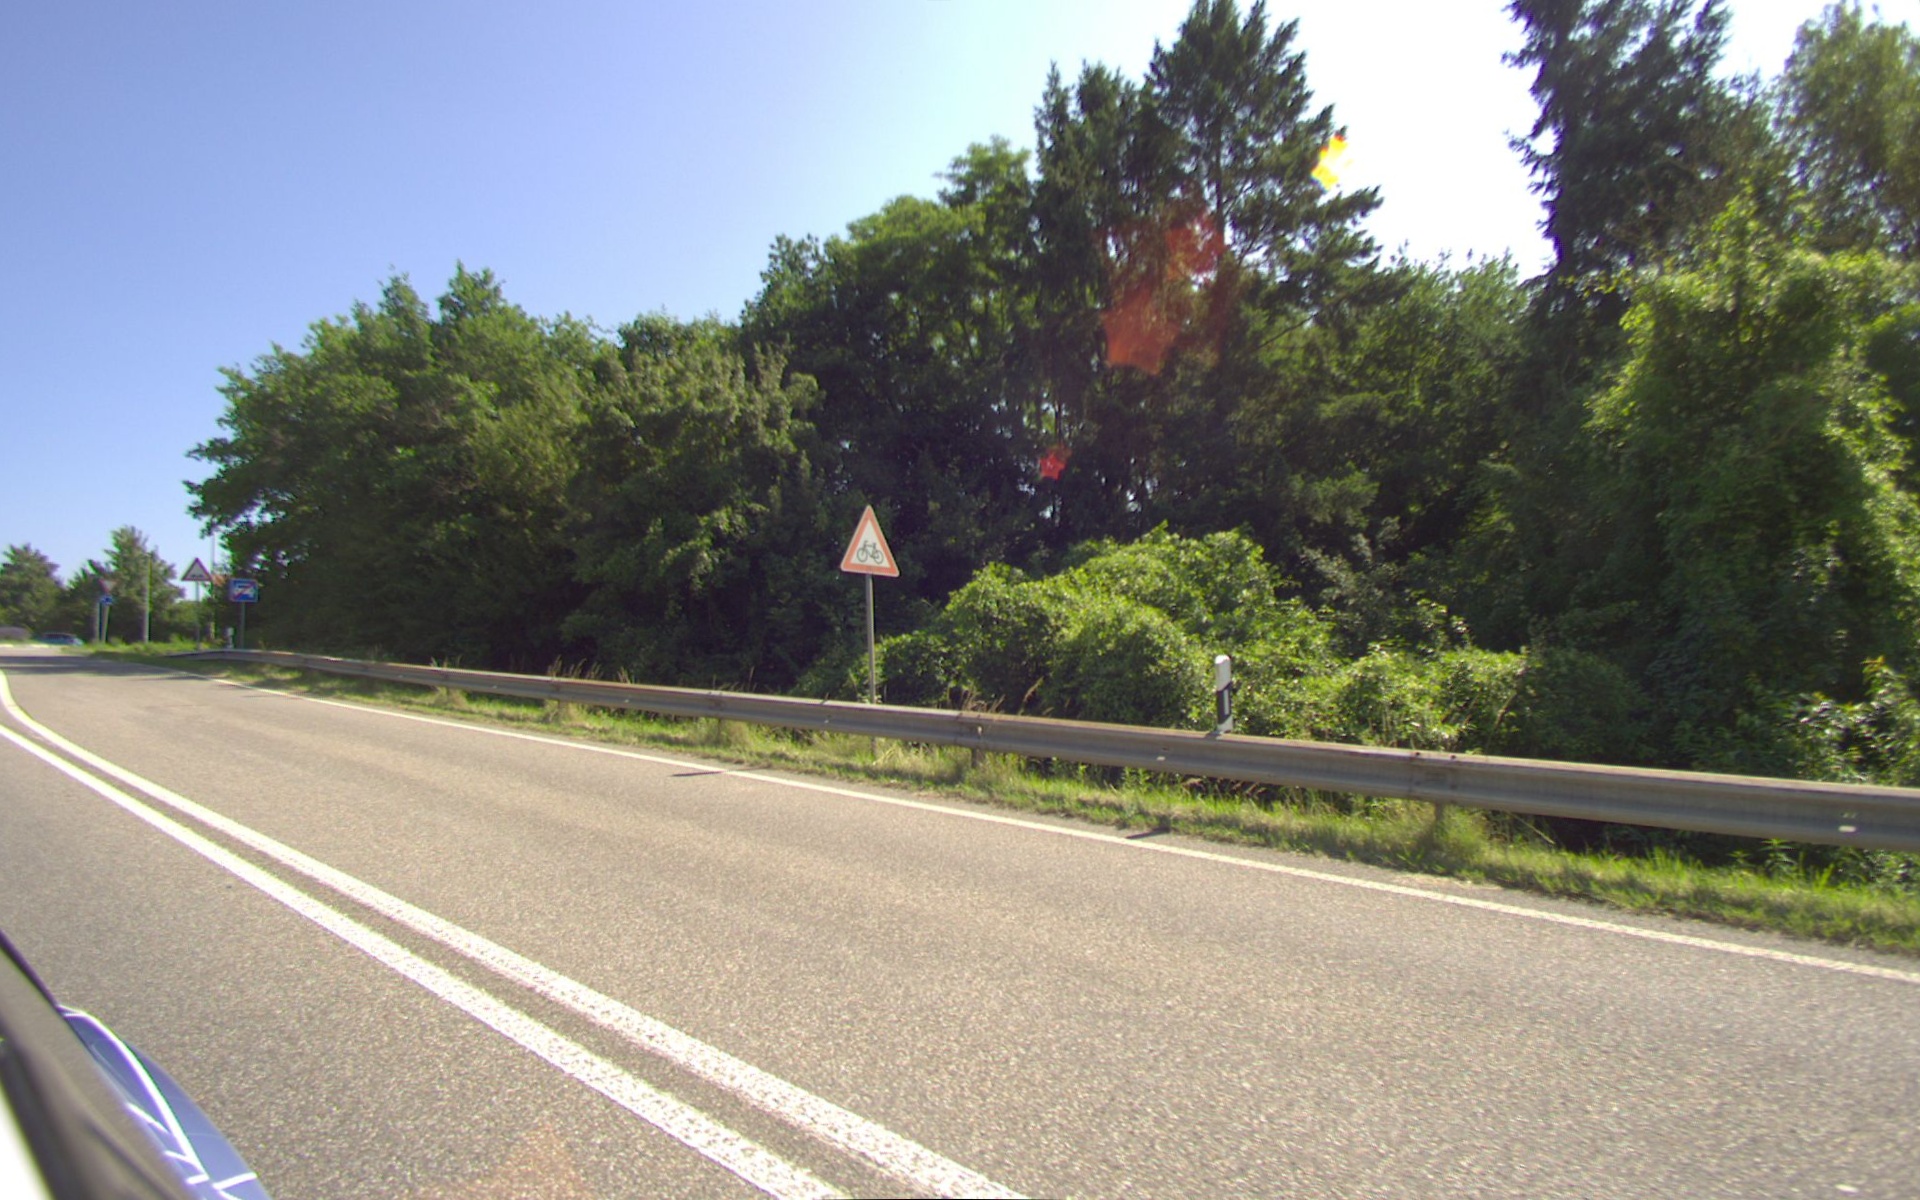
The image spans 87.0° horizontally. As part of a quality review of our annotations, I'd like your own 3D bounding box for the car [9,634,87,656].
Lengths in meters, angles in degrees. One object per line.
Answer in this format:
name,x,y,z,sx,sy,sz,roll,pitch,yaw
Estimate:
car,-66.692,3.281,74.030,3.936,1.588,1.652,0,-3,-8
